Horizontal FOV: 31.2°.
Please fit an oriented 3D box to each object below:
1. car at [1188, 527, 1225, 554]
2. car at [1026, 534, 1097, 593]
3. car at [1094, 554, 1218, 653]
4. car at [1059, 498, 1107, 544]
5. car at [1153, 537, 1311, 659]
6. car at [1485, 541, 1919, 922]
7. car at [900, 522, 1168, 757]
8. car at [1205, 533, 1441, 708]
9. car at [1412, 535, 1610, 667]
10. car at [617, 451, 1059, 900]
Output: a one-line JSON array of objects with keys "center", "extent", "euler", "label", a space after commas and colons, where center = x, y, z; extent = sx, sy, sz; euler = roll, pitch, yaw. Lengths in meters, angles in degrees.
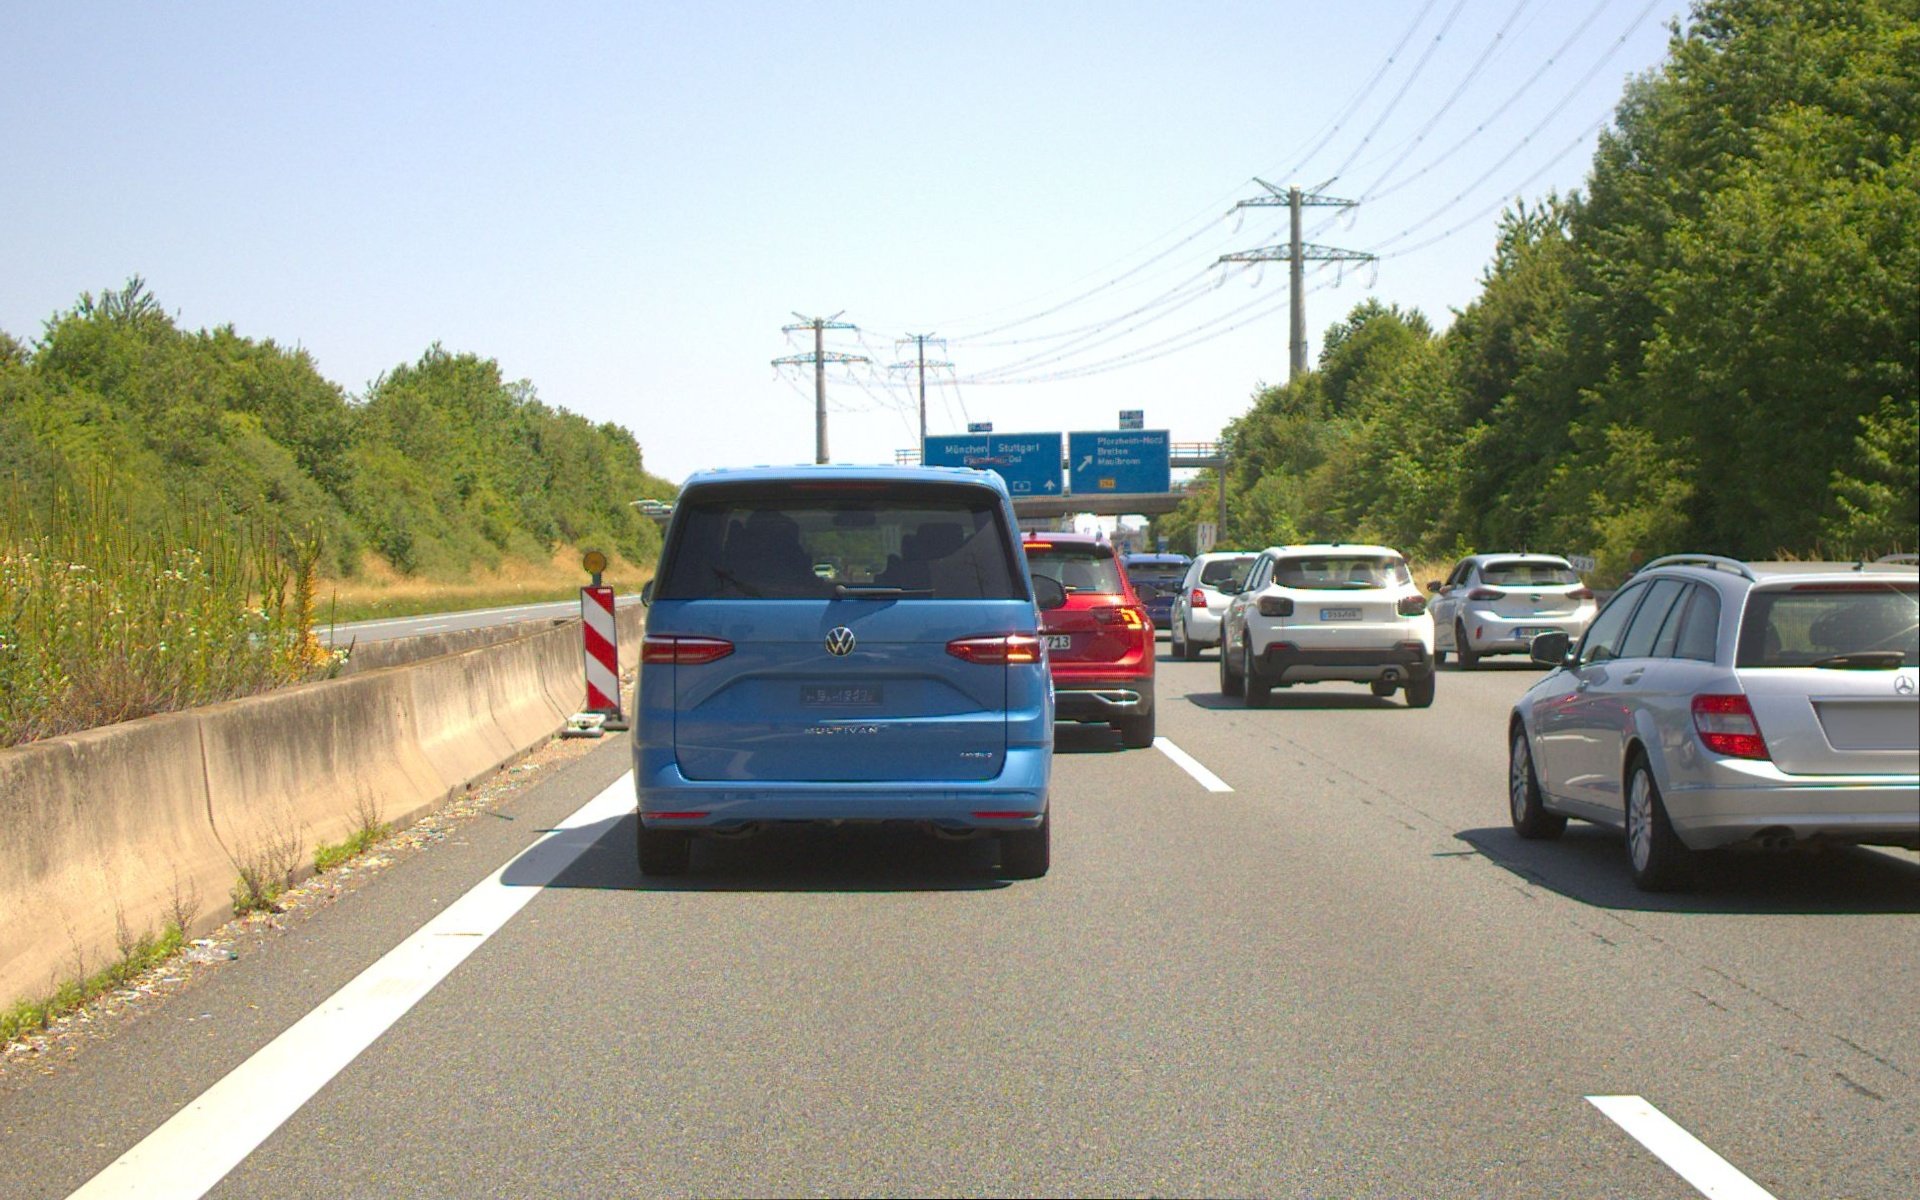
[{"center": [15.678, -3.805, 218.670], "extent": [1.874, 1.665, 4.360], "euler": [1, 1, -1], "label": "car"}, {"center": [2.791, -1.009, 95.540], "extent": [1.797, 1.588, 4.227], "euler": [1, 1, -1], "label": "car"}, {"center": [3.285, 0.036, 58.318], "extent": [1.797, 1.588, 4.227], "euler": [1, 1, -1], "label": "car"}, {"center": [6.716, -4.301, 188.076], "extent": [2.377, 2.420, 4.227], "euler": [1, 1, -1], "label": "car"}, {"center": [3.731, -0.048, 47.710], "extent": [1.797, 1.588, 4.227], "euler": [1, 1, -1], "label": "car"}, {"center": [3.713, 0.508, 15.946], "extent": [1.770, 1.512, 4.360], "euler": [1, 1, -1], "label": "car"}, {"center": [0.495, 0.258, 26.922], "extent": [1.874, 1.665, 4.360], "euler": [1, 1, -1], "label": "car"}, {"center": [3.479, 0.164, 33.637], "extent": [1.797, 1.588, 4.227], "euler": [1, 1, -1], "label": "car"}, {"center": [6.977, -0.010, 43.939], "extent": [1.797, 1.588, 4.227], "euler": [1, 1, -1], "label": "car"}, {"center": [-0.575, 0.300, 16.933], "extent": [1.874, 1.905, 4.360], "euler": [1, 1, -1], "label": "car"}]
